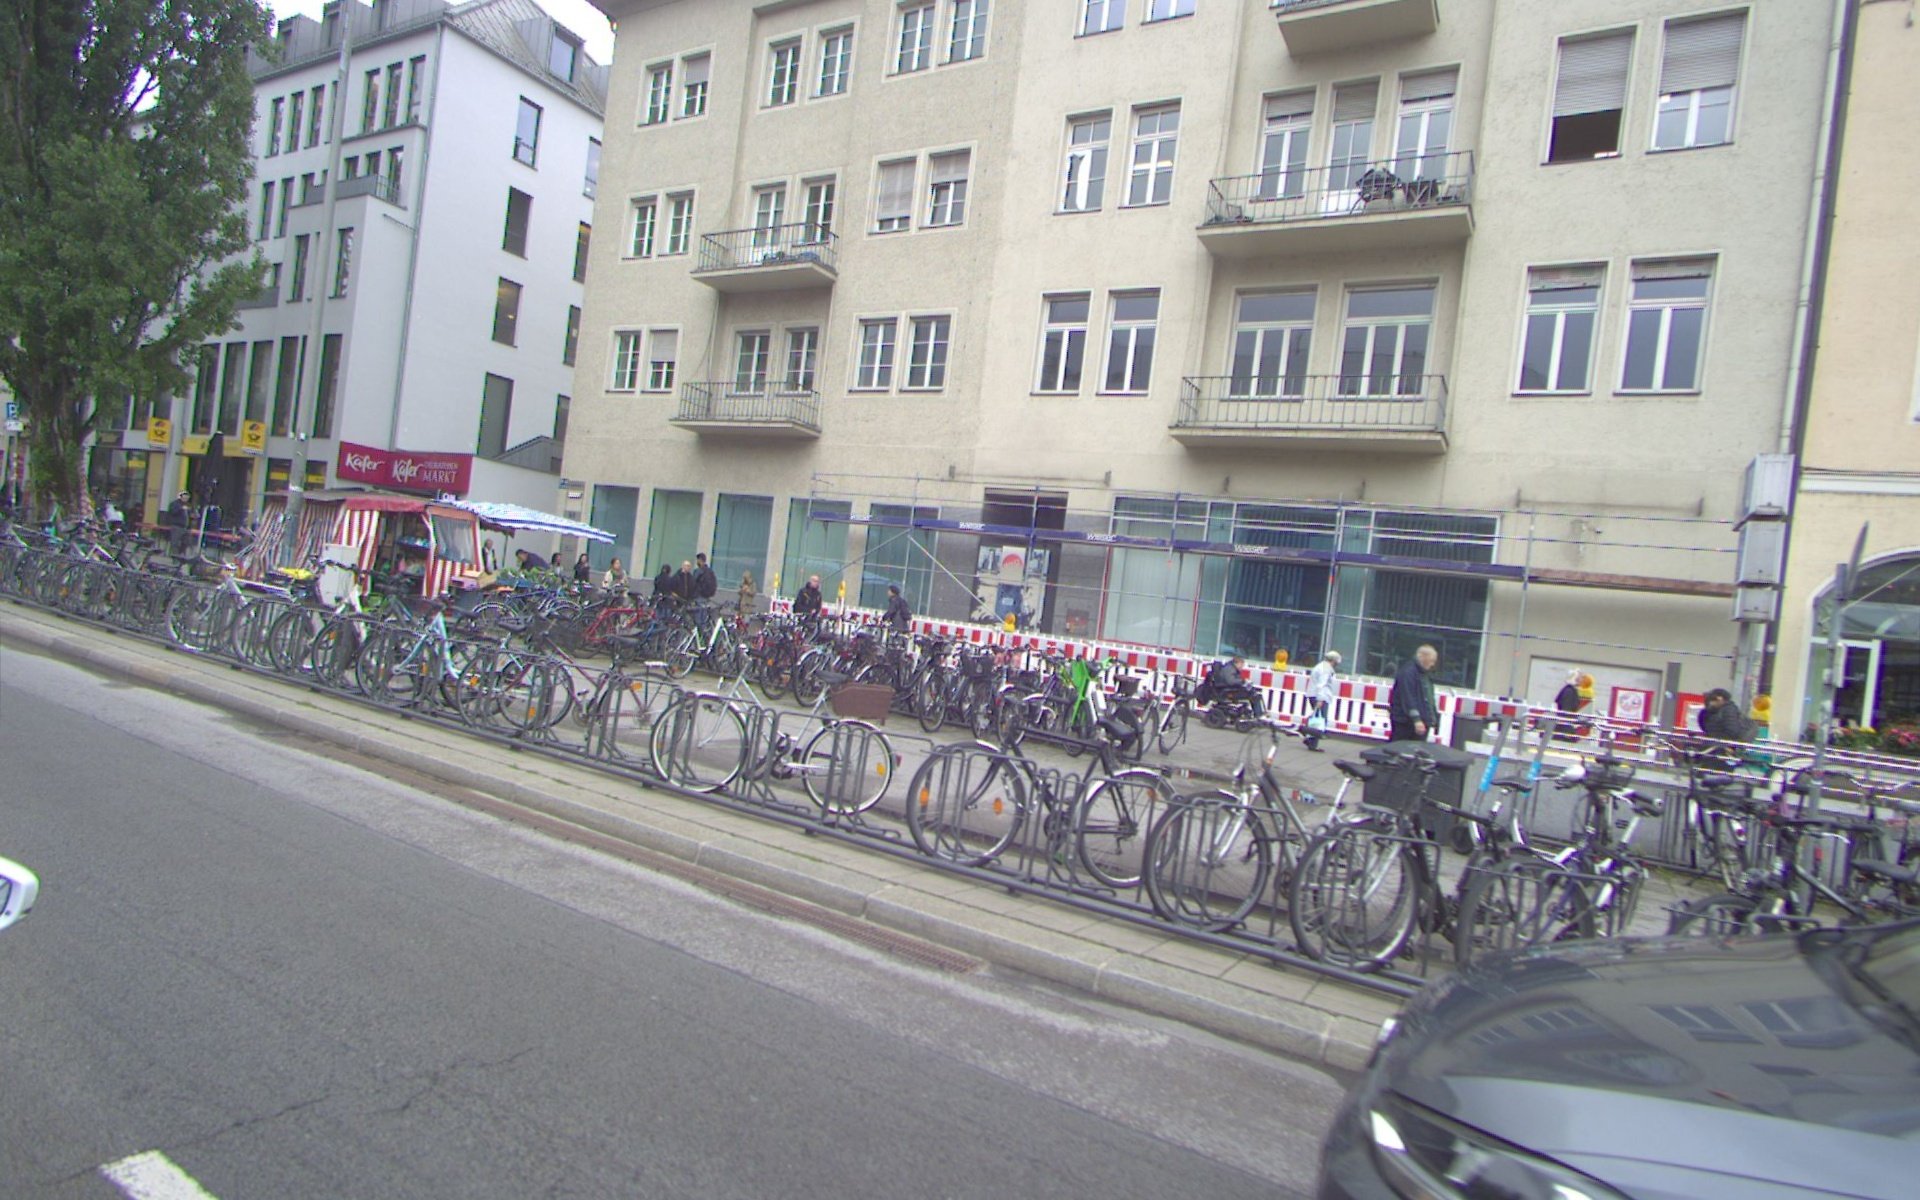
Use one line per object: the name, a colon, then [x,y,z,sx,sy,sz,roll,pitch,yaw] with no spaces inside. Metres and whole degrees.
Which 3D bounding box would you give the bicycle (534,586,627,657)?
bicycle: [-5.759,0.346,15.326,0.363,0.975,1.262,8,0,34]

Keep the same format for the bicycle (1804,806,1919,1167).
bicycle: [4.164,1.476,3.852,1.780,1.172,0.545,7,1,-22]

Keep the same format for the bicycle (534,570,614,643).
bicycle: [-6.642,0.126,17.365,0.363,1.154,1.246,7,1,29]

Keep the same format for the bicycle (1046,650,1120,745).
bicycle: [1.587,1.213,12.771,0.362,1.088,1.554,7,0,25]

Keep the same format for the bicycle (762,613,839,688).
bicycle: [-2.284,0.738,14.535,0.362,0.993,1.247,7,0,25]

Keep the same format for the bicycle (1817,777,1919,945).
bicycle: [7.136,1.958,7.698,0.445,0.976,1.757,7,0,29]

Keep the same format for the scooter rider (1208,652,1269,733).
scooter rider: [4.705,1.545,16.966,0.707,1.235,0.686,8,2,29]

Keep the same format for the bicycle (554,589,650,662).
bicycle: [-5.353,0.401,15.085,0.364,0.975,1.259,8,1,40]

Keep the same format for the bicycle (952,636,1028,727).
bicycle: [0.417,1.064,13.305,0.362,1.088,1.430,7,0,25]

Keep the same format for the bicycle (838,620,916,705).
bicycle: [-1.134,0.861,13.960,0.362,1.088,1.331,7,0,25]

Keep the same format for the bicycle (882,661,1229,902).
bicycle: [0.557,1.052,5.797,1.781,1.172,0.648,7,0,-24]

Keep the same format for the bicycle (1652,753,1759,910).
bicycle: [6.094,1.841,8.285,0.445,0.976,1.756,8,0,32]

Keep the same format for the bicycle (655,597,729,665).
bicycle: [-4.230,0.508,15.951,0.362,0.993,1.247,7,0,22]

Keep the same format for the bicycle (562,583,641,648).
bicycle: [-6.091,0.280,17.138,0.363,0.993,1.246,7,0,29]

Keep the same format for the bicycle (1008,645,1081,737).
bicycle: [1.108,1.152,12.957,0.362,1.088,1.430,7,0,25]

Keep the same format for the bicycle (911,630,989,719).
bicycle: [-0.116,0.994,13.542,0.362,1.088,1.430,7,0,25]

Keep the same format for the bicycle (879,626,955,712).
bicycle: [-0.574,0.939,13.851,0.362,1.088,1.331,7,0,25]

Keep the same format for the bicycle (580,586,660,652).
bicycle: [-5.657,0.329,16.765,0.363,0.993,1.246,7,0,29]

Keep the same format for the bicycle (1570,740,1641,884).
bicycle: [5.535,1.767,8.670,0.363,0.976,1.756,8,0,32]

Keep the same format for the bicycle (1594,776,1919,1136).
bicycle: [3.547,1.412,4.123,1.780,1.172,0.545,7,1,-22]

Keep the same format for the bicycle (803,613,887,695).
bicycle: [-1.622,0.782,14.448,0.362,1.088,1.504,7,0,25]

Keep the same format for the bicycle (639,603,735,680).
bicycle: [-3.749,0.587,13.908,0.363,0.975,1.405,7,0,26]

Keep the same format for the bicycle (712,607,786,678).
bicycle: [-3.185,0.655,15.286,0.362,0.993,1.247,7,0,22]

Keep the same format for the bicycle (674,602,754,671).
bicycle: [-3.779,0.578,15.530,0.363,0.993,1.246,7,0,28]

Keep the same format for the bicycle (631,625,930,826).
bicycle: [-1.205,0.853,6.783,1.781,1.125,0.648,8,0,-22]

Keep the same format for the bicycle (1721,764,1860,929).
bicycle: [6.607,1.909,8.080,0.445,0.976,1.757,7,0,29]

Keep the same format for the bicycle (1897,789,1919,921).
bicycle: [7.519,2.002,7.377,0.445,0.976,1.757,7,0,29]

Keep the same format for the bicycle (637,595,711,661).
bicycle: [-4.611,0.465,16.269,0.362,0.993,1.247,7,0,22]

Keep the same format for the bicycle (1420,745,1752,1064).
bicycle: [2.926,1.324,4.626,1.787,1.172,0.482,8,0,-33]

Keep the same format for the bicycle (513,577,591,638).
bicycle: [-7.197,0.151,17.795,0.363,0.975,1.246,7,0,29]

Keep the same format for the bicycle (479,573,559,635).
bicycle: [-7.782,0.088,17.793,0.363,0.975,1.246,7,0,29]

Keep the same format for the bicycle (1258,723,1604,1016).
bicycle: [2.337,1.271,4.904,1.785,1.172,0.483,8,0,-30]

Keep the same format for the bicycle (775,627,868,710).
bicycle: [-1.748,0.876,12.798,0.363,0.975,1.181,8,0,35]

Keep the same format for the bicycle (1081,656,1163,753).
bicycle: [2.036,1.272,12.514,0.443,1.088,1.553,7,0,27]

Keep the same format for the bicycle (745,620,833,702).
bicycle: [-2.202,0.800,13.071,0.363,0.975,1.183,7,0,29]

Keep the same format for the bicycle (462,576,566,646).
bicycle: [-7.064,0.185,15.981,0.363,0.975,1.431,8,0,37]

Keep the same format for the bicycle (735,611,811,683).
bicycle: [-2.754,0.704,14.923,0.362,0.993,1.247,7,0,25]

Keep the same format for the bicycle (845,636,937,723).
bicycle: [-0.824,0.970,12.264,0.363,0.975,1.133,8,1,37]

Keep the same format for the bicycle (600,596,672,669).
bicycle: [-4.697,0.471,14.646,0.362,0.975,1.229,7,0,10]

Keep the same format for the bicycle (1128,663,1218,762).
bicycle: [2.628,1.352,12.306,0.444,1.088,1.551,8,0,32]

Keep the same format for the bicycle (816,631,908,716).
bicycle: [-1.199,0.923,12.474,0.363,0.975,1.133,8,1,37]

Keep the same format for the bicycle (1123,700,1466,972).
bicycle: [1.762,1.195,5.188,1.785,1.172,0.483,8,0,-29]
